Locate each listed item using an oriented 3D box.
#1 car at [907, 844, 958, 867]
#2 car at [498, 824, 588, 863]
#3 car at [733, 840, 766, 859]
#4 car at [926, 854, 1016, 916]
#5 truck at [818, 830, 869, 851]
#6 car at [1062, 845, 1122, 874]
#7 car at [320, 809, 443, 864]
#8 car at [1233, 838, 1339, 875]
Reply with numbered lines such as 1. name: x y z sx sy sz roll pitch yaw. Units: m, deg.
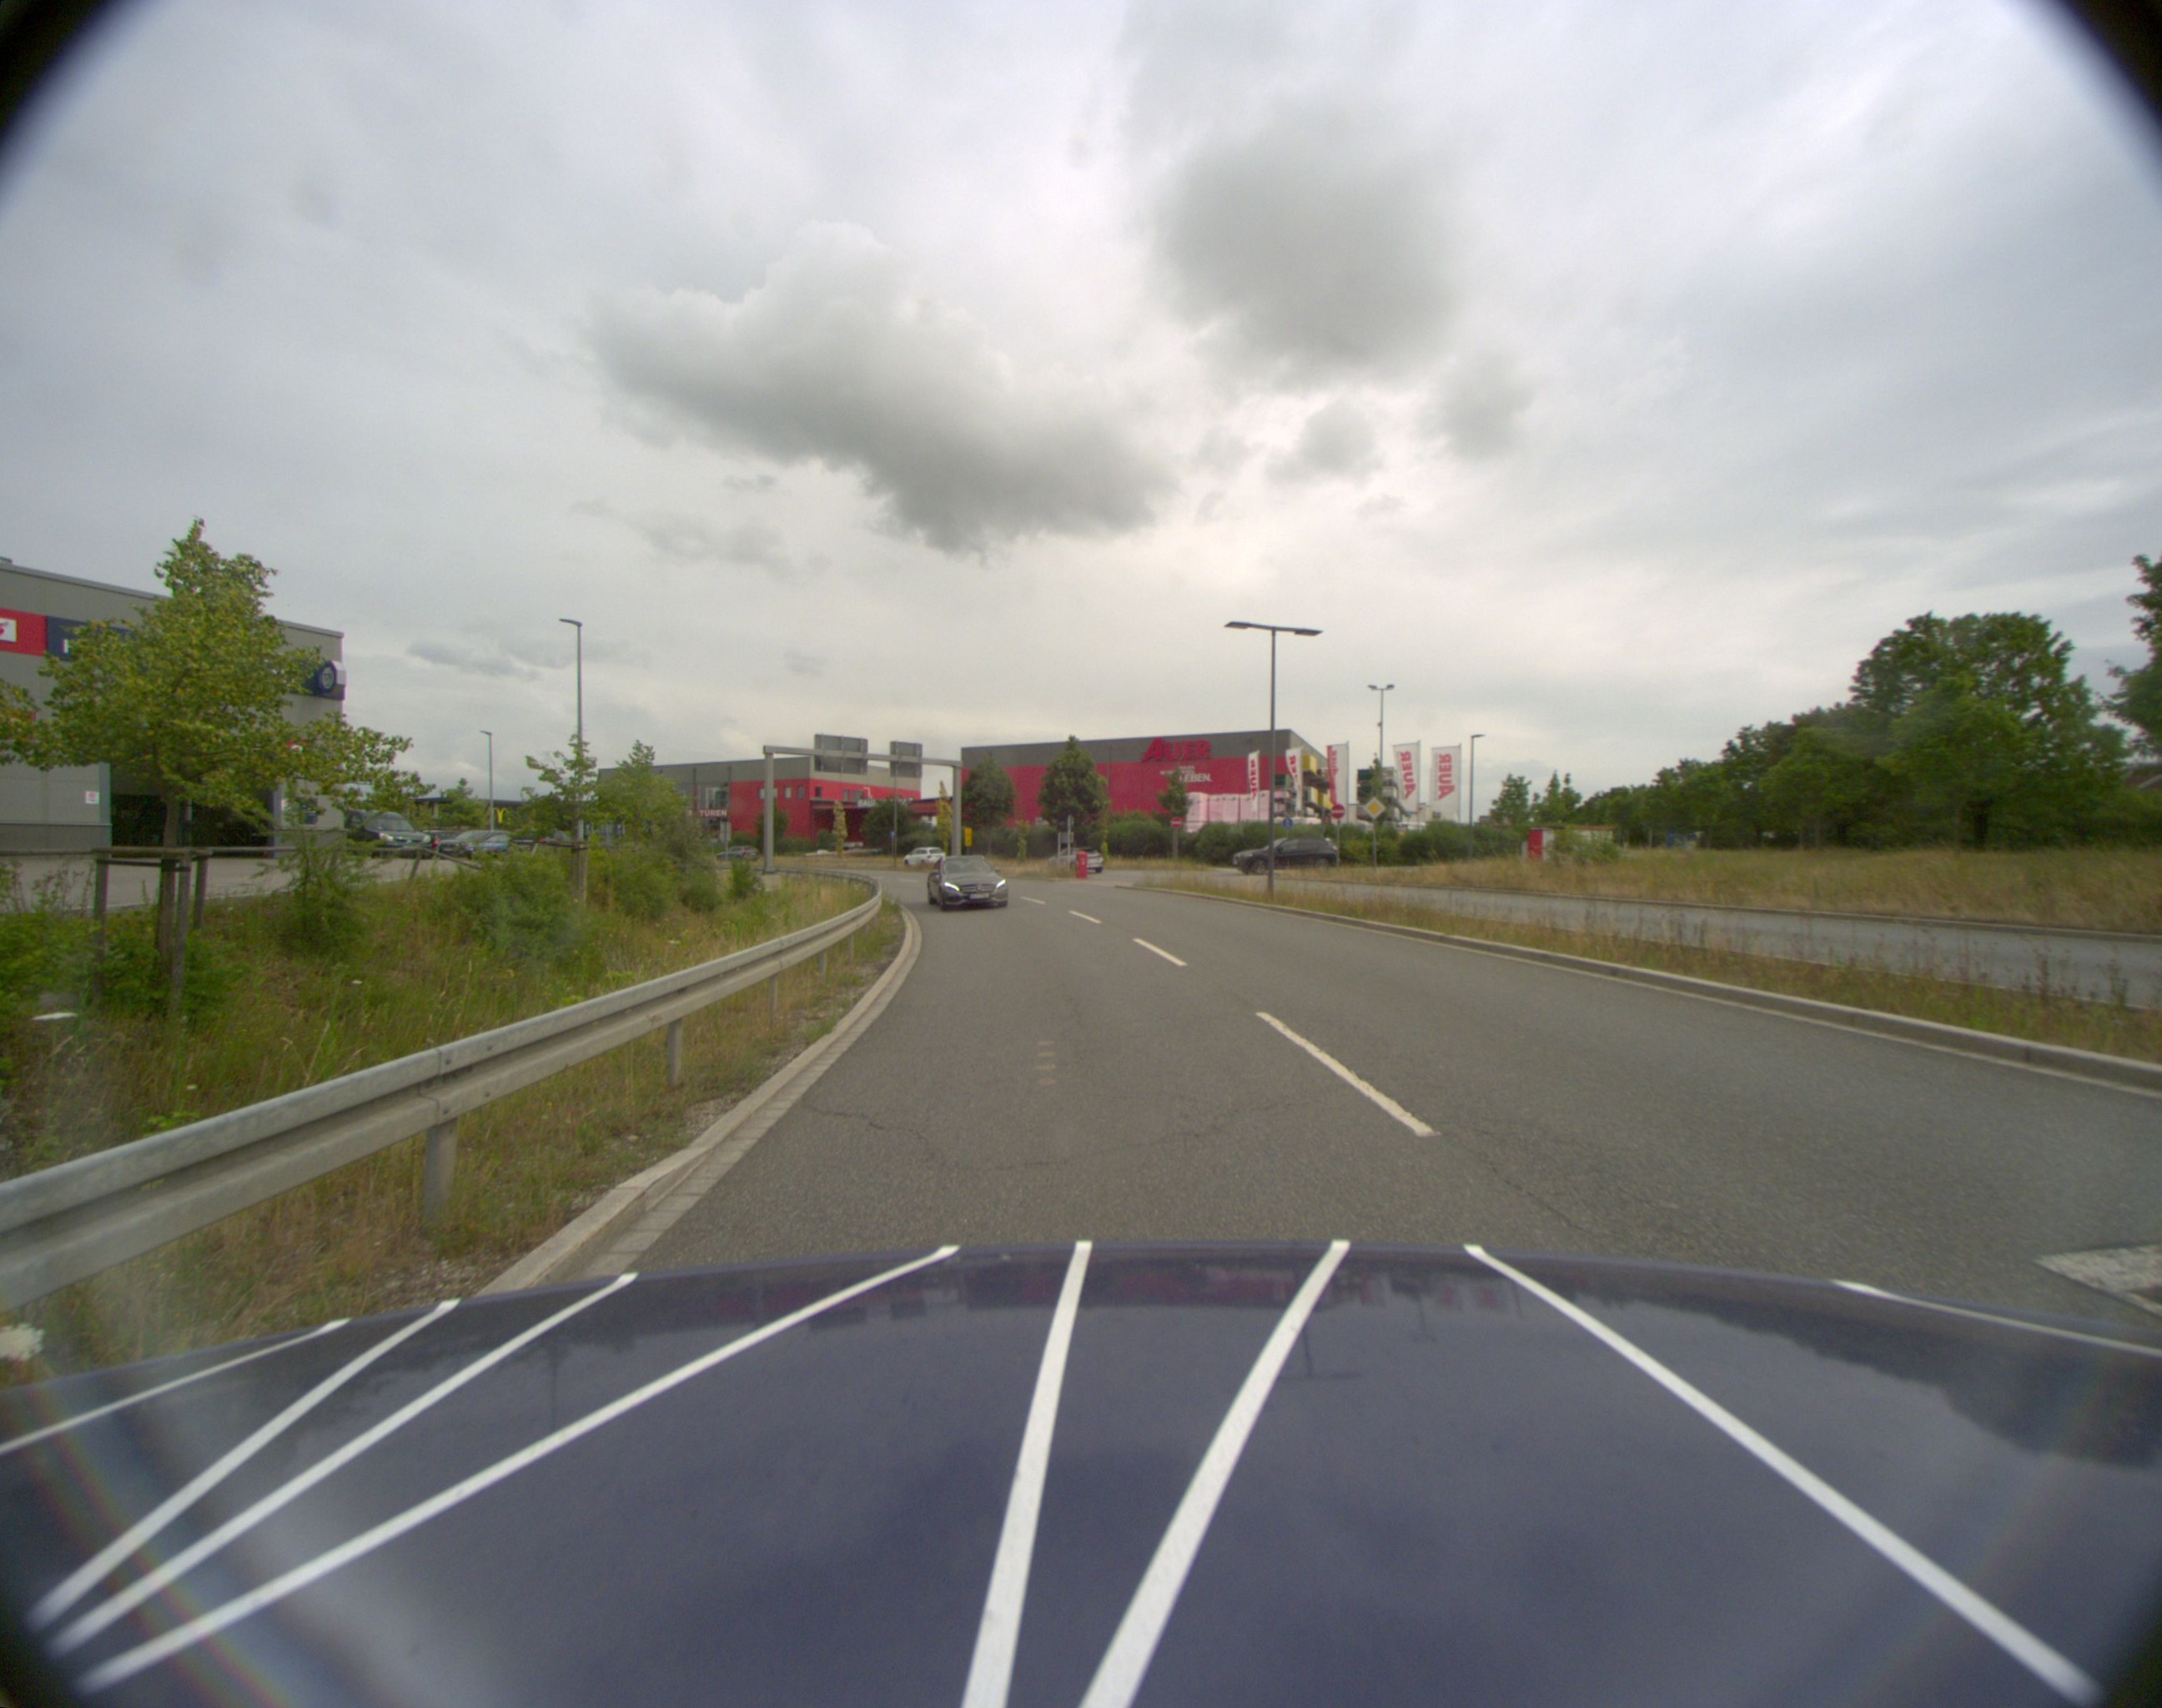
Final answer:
1. car: -10.986 0.123 56.009 1.724 1.625 4.255 -2 2 -42
2. car: -27.278 -0.575 38.726 1.804 1.773 4.165 -2 3 -6
3. car: -32.268 -0.442 73.890 1.818 1.620 4.674 -4 3 -37
4. car: -3.267 0.797 21.885 1.908 1.489 4.332 -4 1 -16
5. truck: -28.720 -1.606 91.803 5.892 2.474 2.043 1 3 25
6. car: 0.511 0.282 41.010 1.465 1.477 4.086 -3 1 -27
7. car: -24.835 -0.583 26.973 3.960 1.800 1.708 1 -1 23
8. car: 9.220 0.086 34.327 4.254 1.541 1.872 -1 2 -7
